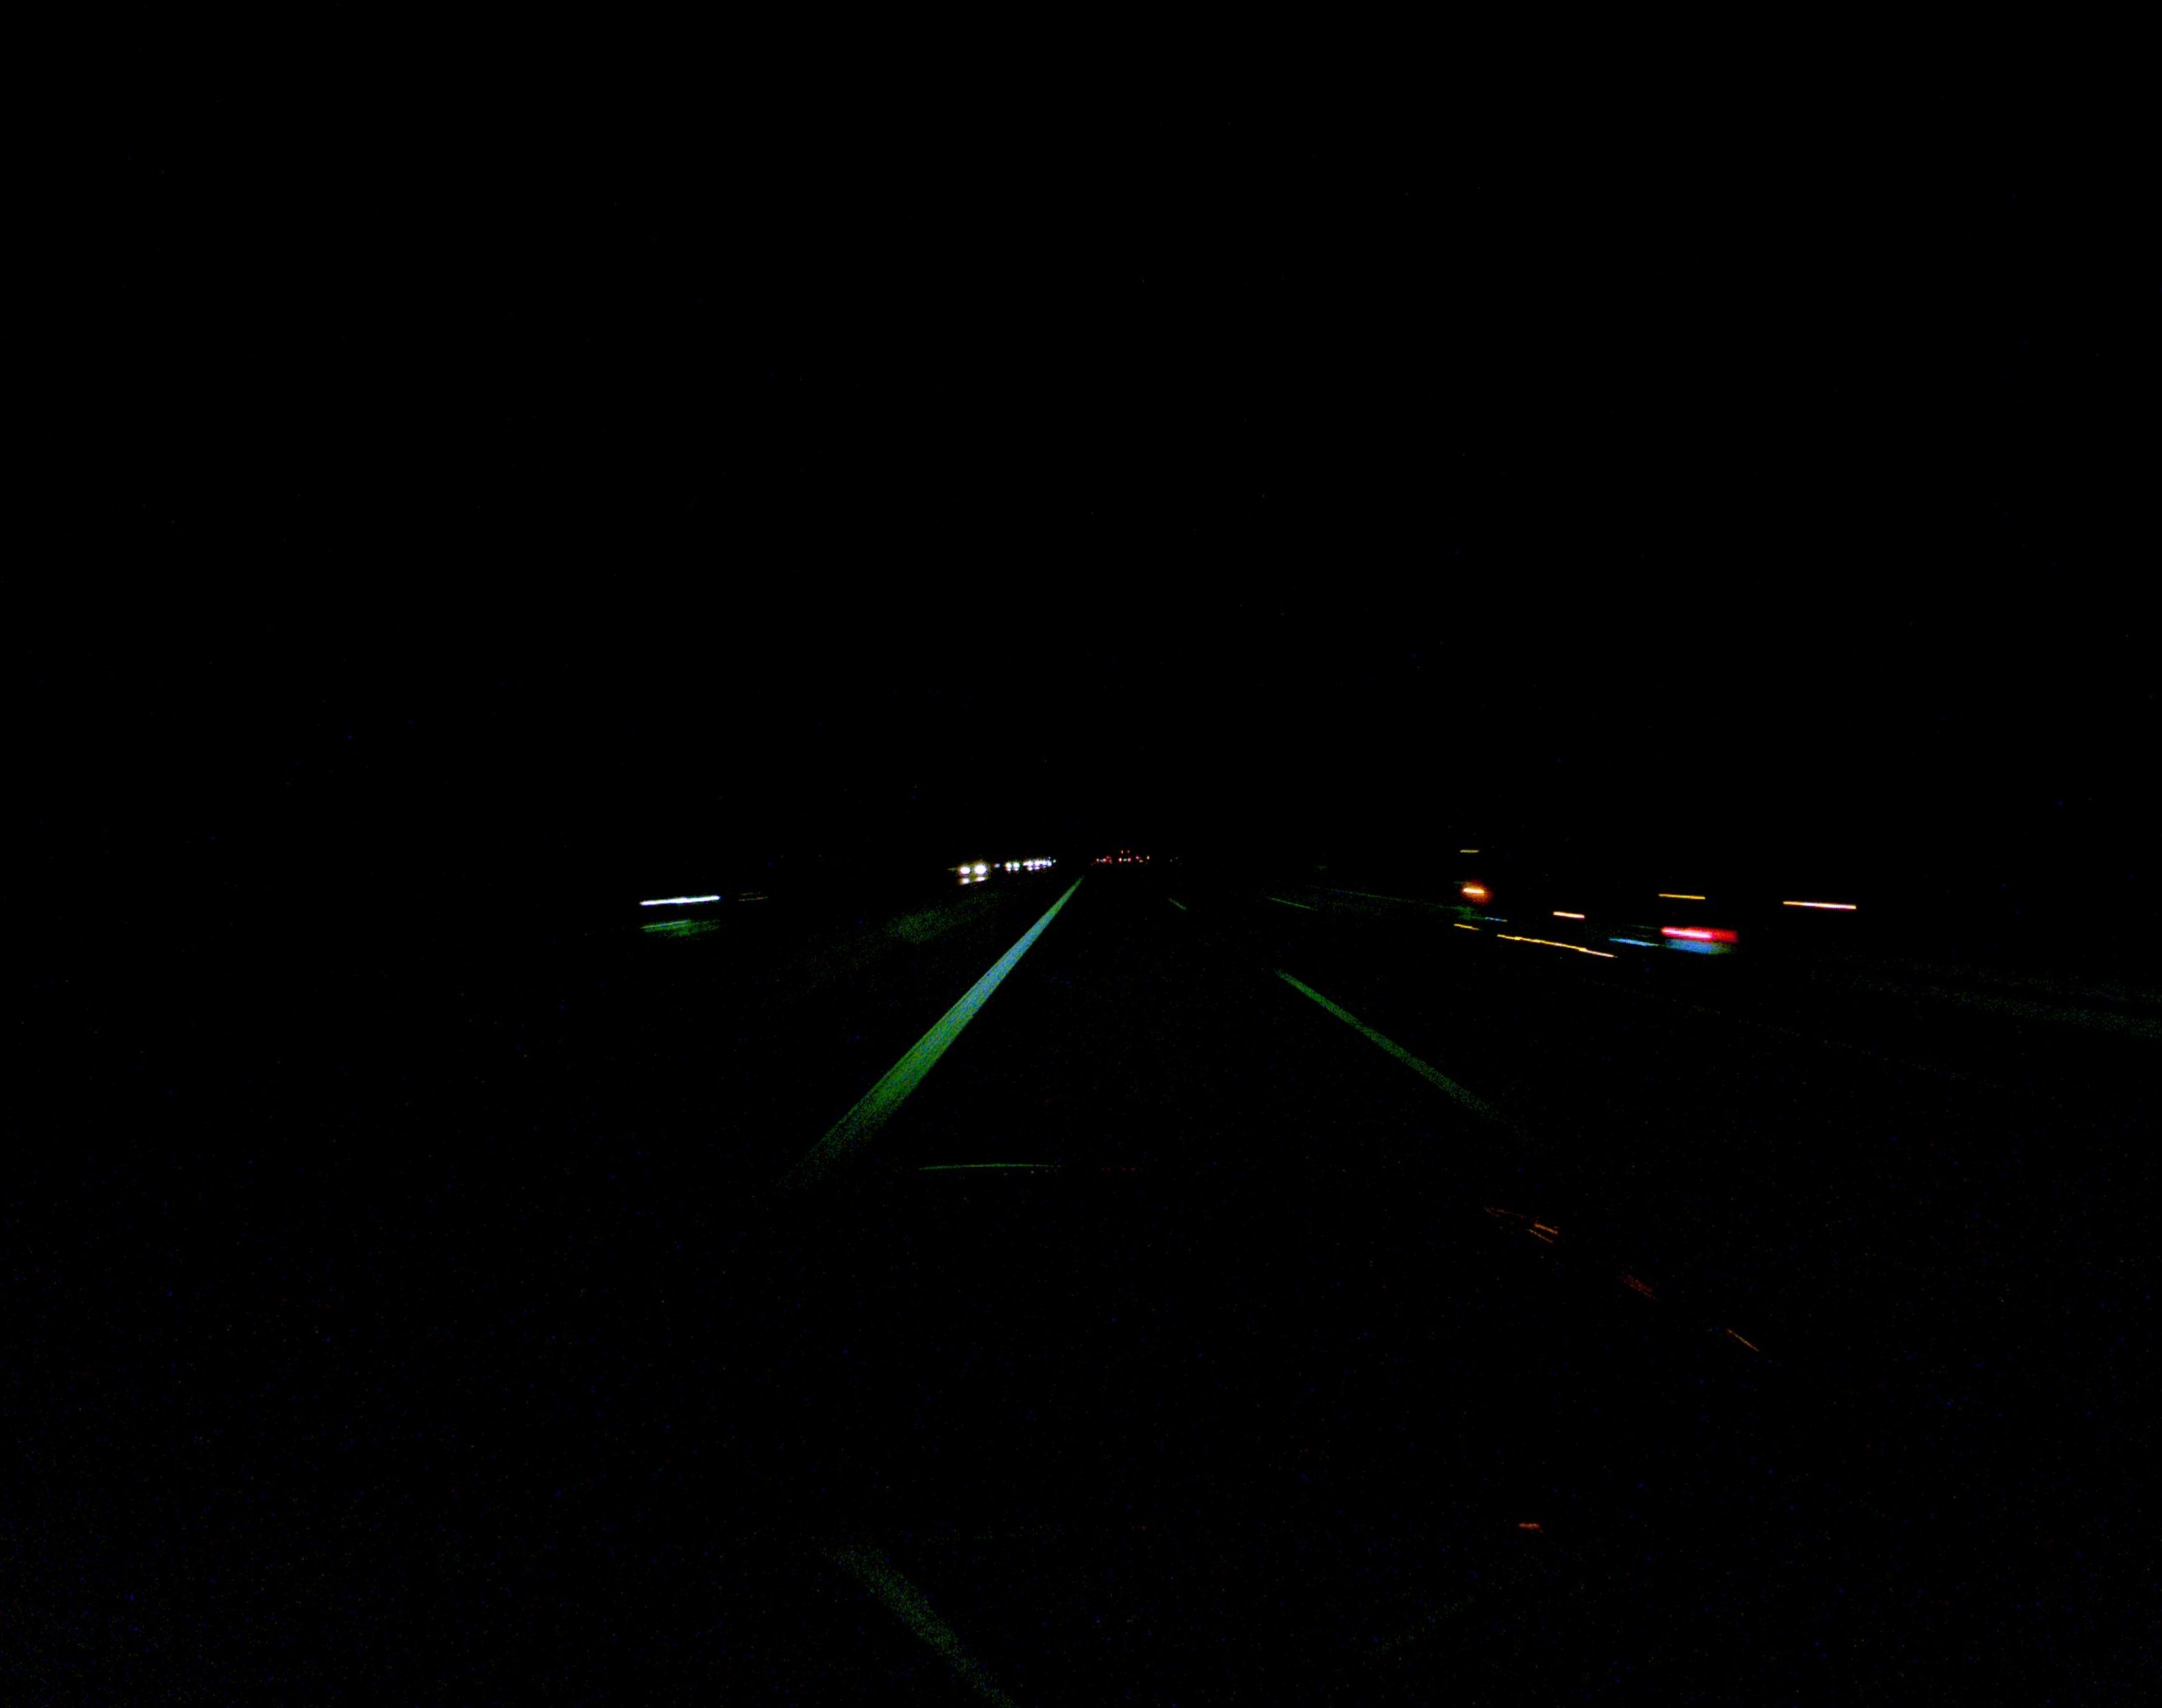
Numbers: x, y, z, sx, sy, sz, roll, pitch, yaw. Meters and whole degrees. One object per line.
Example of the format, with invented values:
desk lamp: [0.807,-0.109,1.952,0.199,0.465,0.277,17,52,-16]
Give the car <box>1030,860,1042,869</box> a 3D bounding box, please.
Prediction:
car: [-8.011,1.874,145.859,1.744,1.478,4.582,-3,0,0]

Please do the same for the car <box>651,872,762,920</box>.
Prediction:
car: [-13.299,1.451,29.305,1.626,1.394,4.878,-3,0,1]

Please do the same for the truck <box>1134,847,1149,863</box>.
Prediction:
truck: [10.279,0.088,138.783,2.070,2.691,7.305,0,0,-1]

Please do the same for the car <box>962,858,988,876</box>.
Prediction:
car: [-9.767,1.174,75.460,1.744,1.478,4.582,-3,0,0]

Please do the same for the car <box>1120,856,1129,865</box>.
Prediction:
car: [7.214,1.088,134.753,1.341,1.387,3.502,0,0,1]

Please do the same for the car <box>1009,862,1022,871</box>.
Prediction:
car: [-11.807,2.188,146.795,1.744,1.478,4.582,-3,0,0]

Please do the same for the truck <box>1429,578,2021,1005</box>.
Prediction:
truck: [7.789,-0.604,11.616,2.581,4.072,7.676,0,0,2]

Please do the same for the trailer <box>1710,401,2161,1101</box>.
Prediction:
trailer: [7.530,-0.598,3.260,2.581,4.072,10.012,0,0,2]

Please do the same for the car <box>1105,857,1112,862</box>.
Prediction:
car: [7.987,1.527,235.221,1.814,1.466,4.248,0,0,1]

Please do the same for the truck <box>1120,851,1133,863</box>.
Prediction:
truck: [12.249,0.776,220.950,3.034,3.324,10.143,0,0,1]

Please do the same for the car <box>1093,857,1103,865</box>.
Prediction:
car: [3.254,1.222,152.600,1.814,1.466,4.248,0,0,1]
